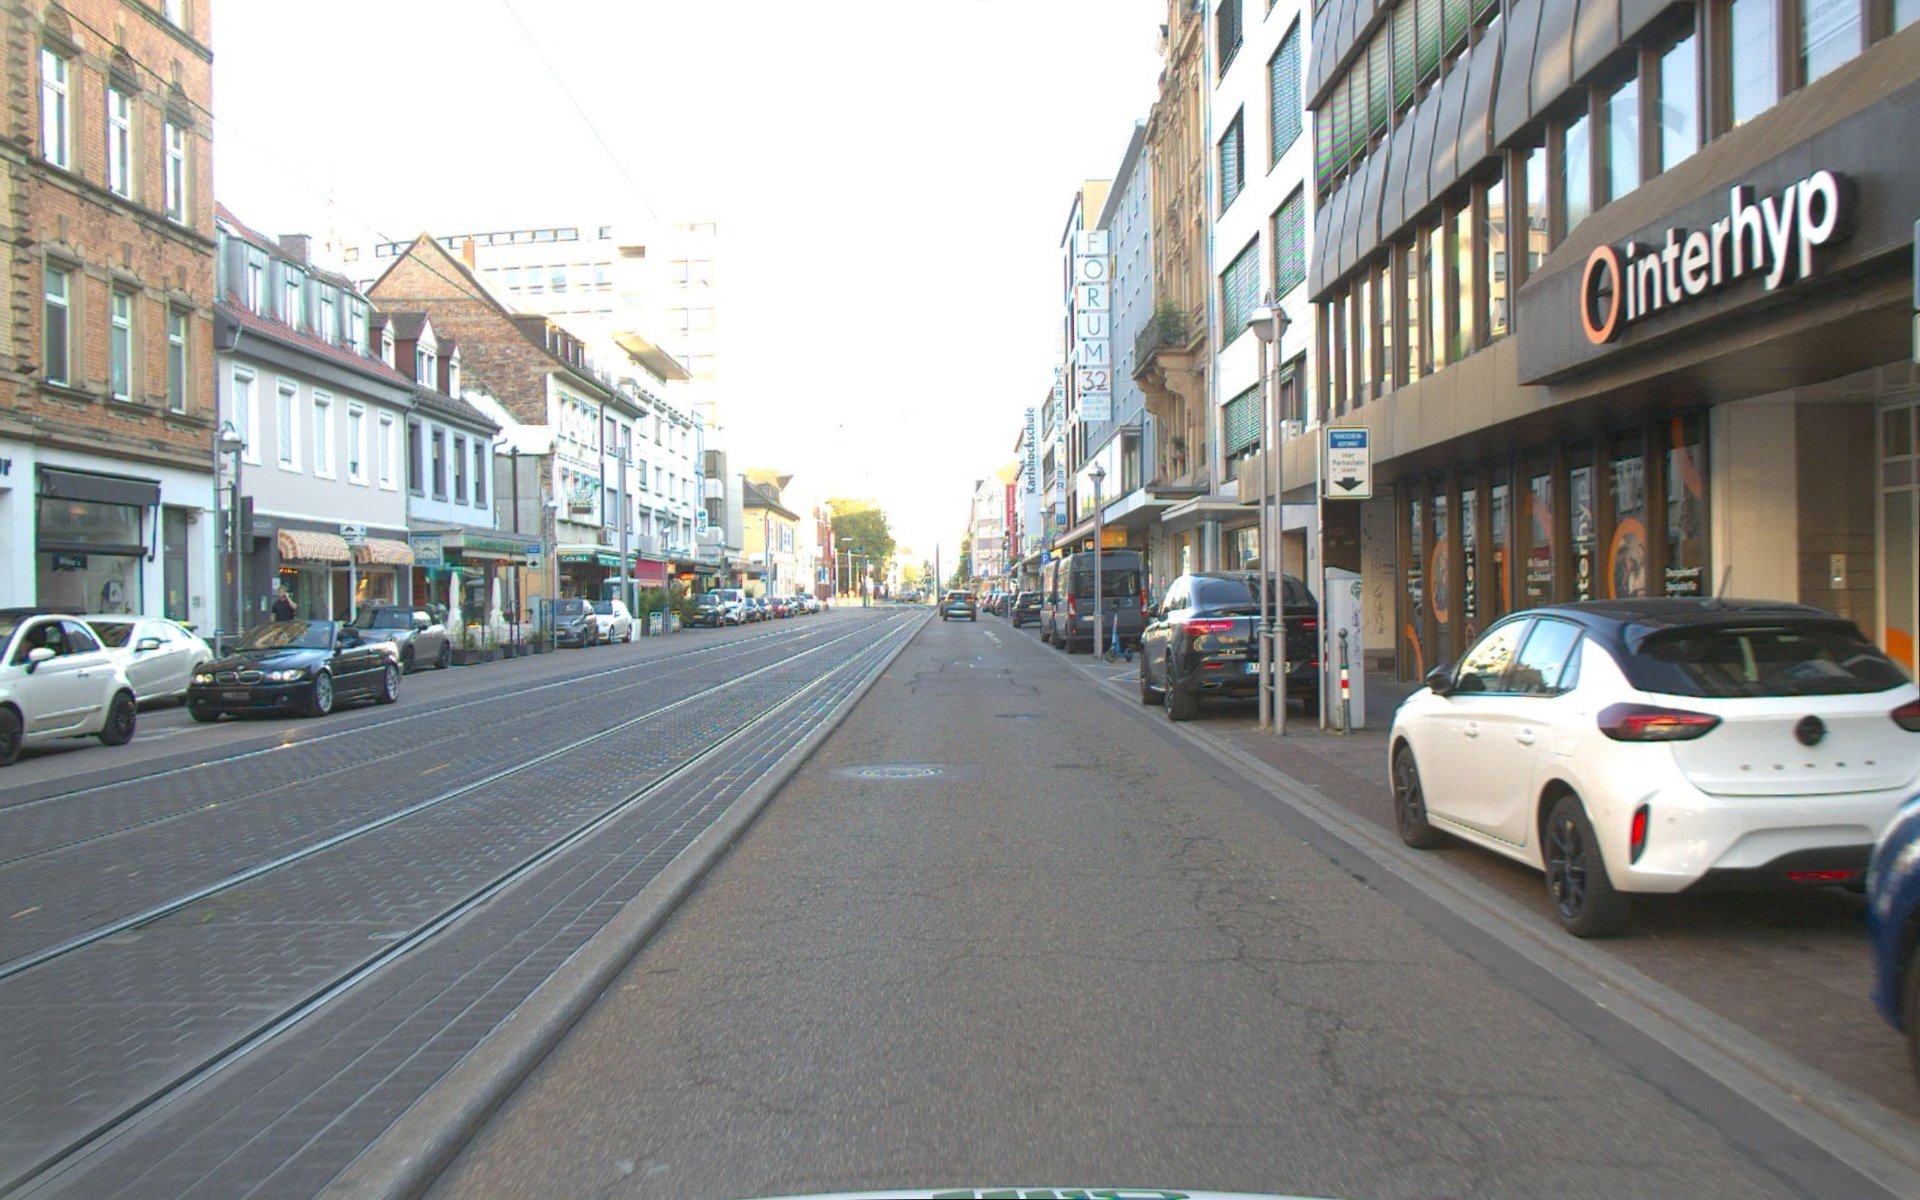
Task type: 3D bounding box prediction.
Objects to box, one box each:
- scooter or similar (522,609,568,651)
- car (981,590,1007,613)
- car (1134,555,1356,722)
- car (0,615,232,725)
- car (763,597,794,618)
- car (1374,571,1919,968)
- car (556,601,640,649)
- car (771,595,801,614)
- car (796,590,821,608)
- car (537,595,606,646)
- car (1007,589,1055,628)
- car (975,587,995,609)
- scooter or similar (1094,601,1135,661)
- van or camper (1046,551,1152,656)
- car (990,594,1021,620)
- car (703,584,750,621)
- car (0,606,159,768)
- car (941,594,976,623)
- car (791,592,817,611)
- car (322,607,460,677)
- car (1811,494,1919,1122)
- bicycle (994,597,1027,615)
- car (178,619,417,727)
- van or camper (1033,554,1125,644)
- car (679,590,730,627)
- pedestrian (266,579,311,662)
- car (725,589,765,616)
[{"bbox_3d":[-12.493,0.901,49.755,1.287,1.226,0.294,1,0,0],"label":"scooter or similar"},{"bbox_3d":[2.724,0.136,132.783,1.904,1.733,4.545,-3,0,1],"label":"car"},{"bbox_3d":[3.437,0.424,20.851,1.943,1.764,4.671,-3,0,1],"label":"car"},{"bbox_3d":[-12.671,0.980,24.798,1.724,1.414,4.272,1,0,-2],"label":"car"},{"bbox_3d":[-12.724,0.525,116.214,1.754,1.362,3.891,1,0,-1],"label":"car"},{"bbox_3d":[3.553,0.668,8.597,1.730,1.511,3.872,-3,0,-1],"label":"car"},{"bbox_3d":[-12.534,0.826,57.492,1.811,1.531,4.841,1,0,0],"label":"car"},{"bbox_3d":[-12.759,0.312,121.480,1.754,1.362,3.891,1,0,-1],"label":"car"},{"bbox_3d":[-12.905,-0.100,140.791,1.754,1.475,3.891,1,0,-1],"label":"car"},{"bbox_3d":[-12.420,0.640,52.973,1.559,1.531,2.812,1,0,-1],"label":"car"},{"bbox_3d":[3.098,0.367,73.046,1.904,1.571,4.545,-3,0,1],"label":"car"},{"bbox_3d":[2.547,-0.218,171.275,1.904,2.183,4.545,-3,0,1],"label":"car"},{"bbox_3d":[3.373,0.672,36.056,0.348,1.245,1.113,-3,0,32],"label":"scooter or similar"},{"bbox_3d":[3.597,0.073,44.003,2.144,2.468,6.132,-3,0,-1],"label":"van or camper"},{"bbox_3d":[3.015,0.425,109.639,1.904,1.571,4.545,-3,0,1],"label":"car"},{"bbox_3d":[-12.948,0.145,92.132,1.878,1.969,4.841,1,0,0],"label":"car"},{"bbox_3d":[-10.015,0.884,17.080,1.633,1.532,3.680,-3,0,-1],"label":"car"},{"bbox_3d":[-0.053,0.438,92.329,1.904,1.572,4.545,0,0,1],"label":"car"},{"bbox_3d":[-12.676,0.112,134.751,1.754,1.475,3.891,1,0,-1],"label":"car"},{"bbox_3d":[-12.664,0.906,37.033,1.698,1.414,3.864,1,0,0],"label":"car"},{"bbox_3d":[3.555,0.538,2.758,1.876,1.747,4.563,-3,0,0],"label":"car"},{"bbox_3d":[3.296,0.394,107.569,2.076,1.109,0.591,-1,0,-3],"label":"bicycle"},{"bbox_3d":[-9.244,0.965,23.458,1.633,1.249,4.273,-3,0,-1],"label":"car"},{"bbox_3d":[3.542,-0.045,50.316,2.145,2.468,5.516,-3,0,-2],"label":"van or camper"},{"bbox_3d":[-12.993,0.411,84.427,1.878,1.794,4.429,1,0,0],"label":"car"},{"bbox_3d":[-14.826,0.453,36.540,0.634,1.803,0.855,0,0,0],"label":"pedestrian"},{"bbox_3d":[-12.985,0.148,100.064,1.878,1.547,4.629,1,0,-1],"label":"car"}]
